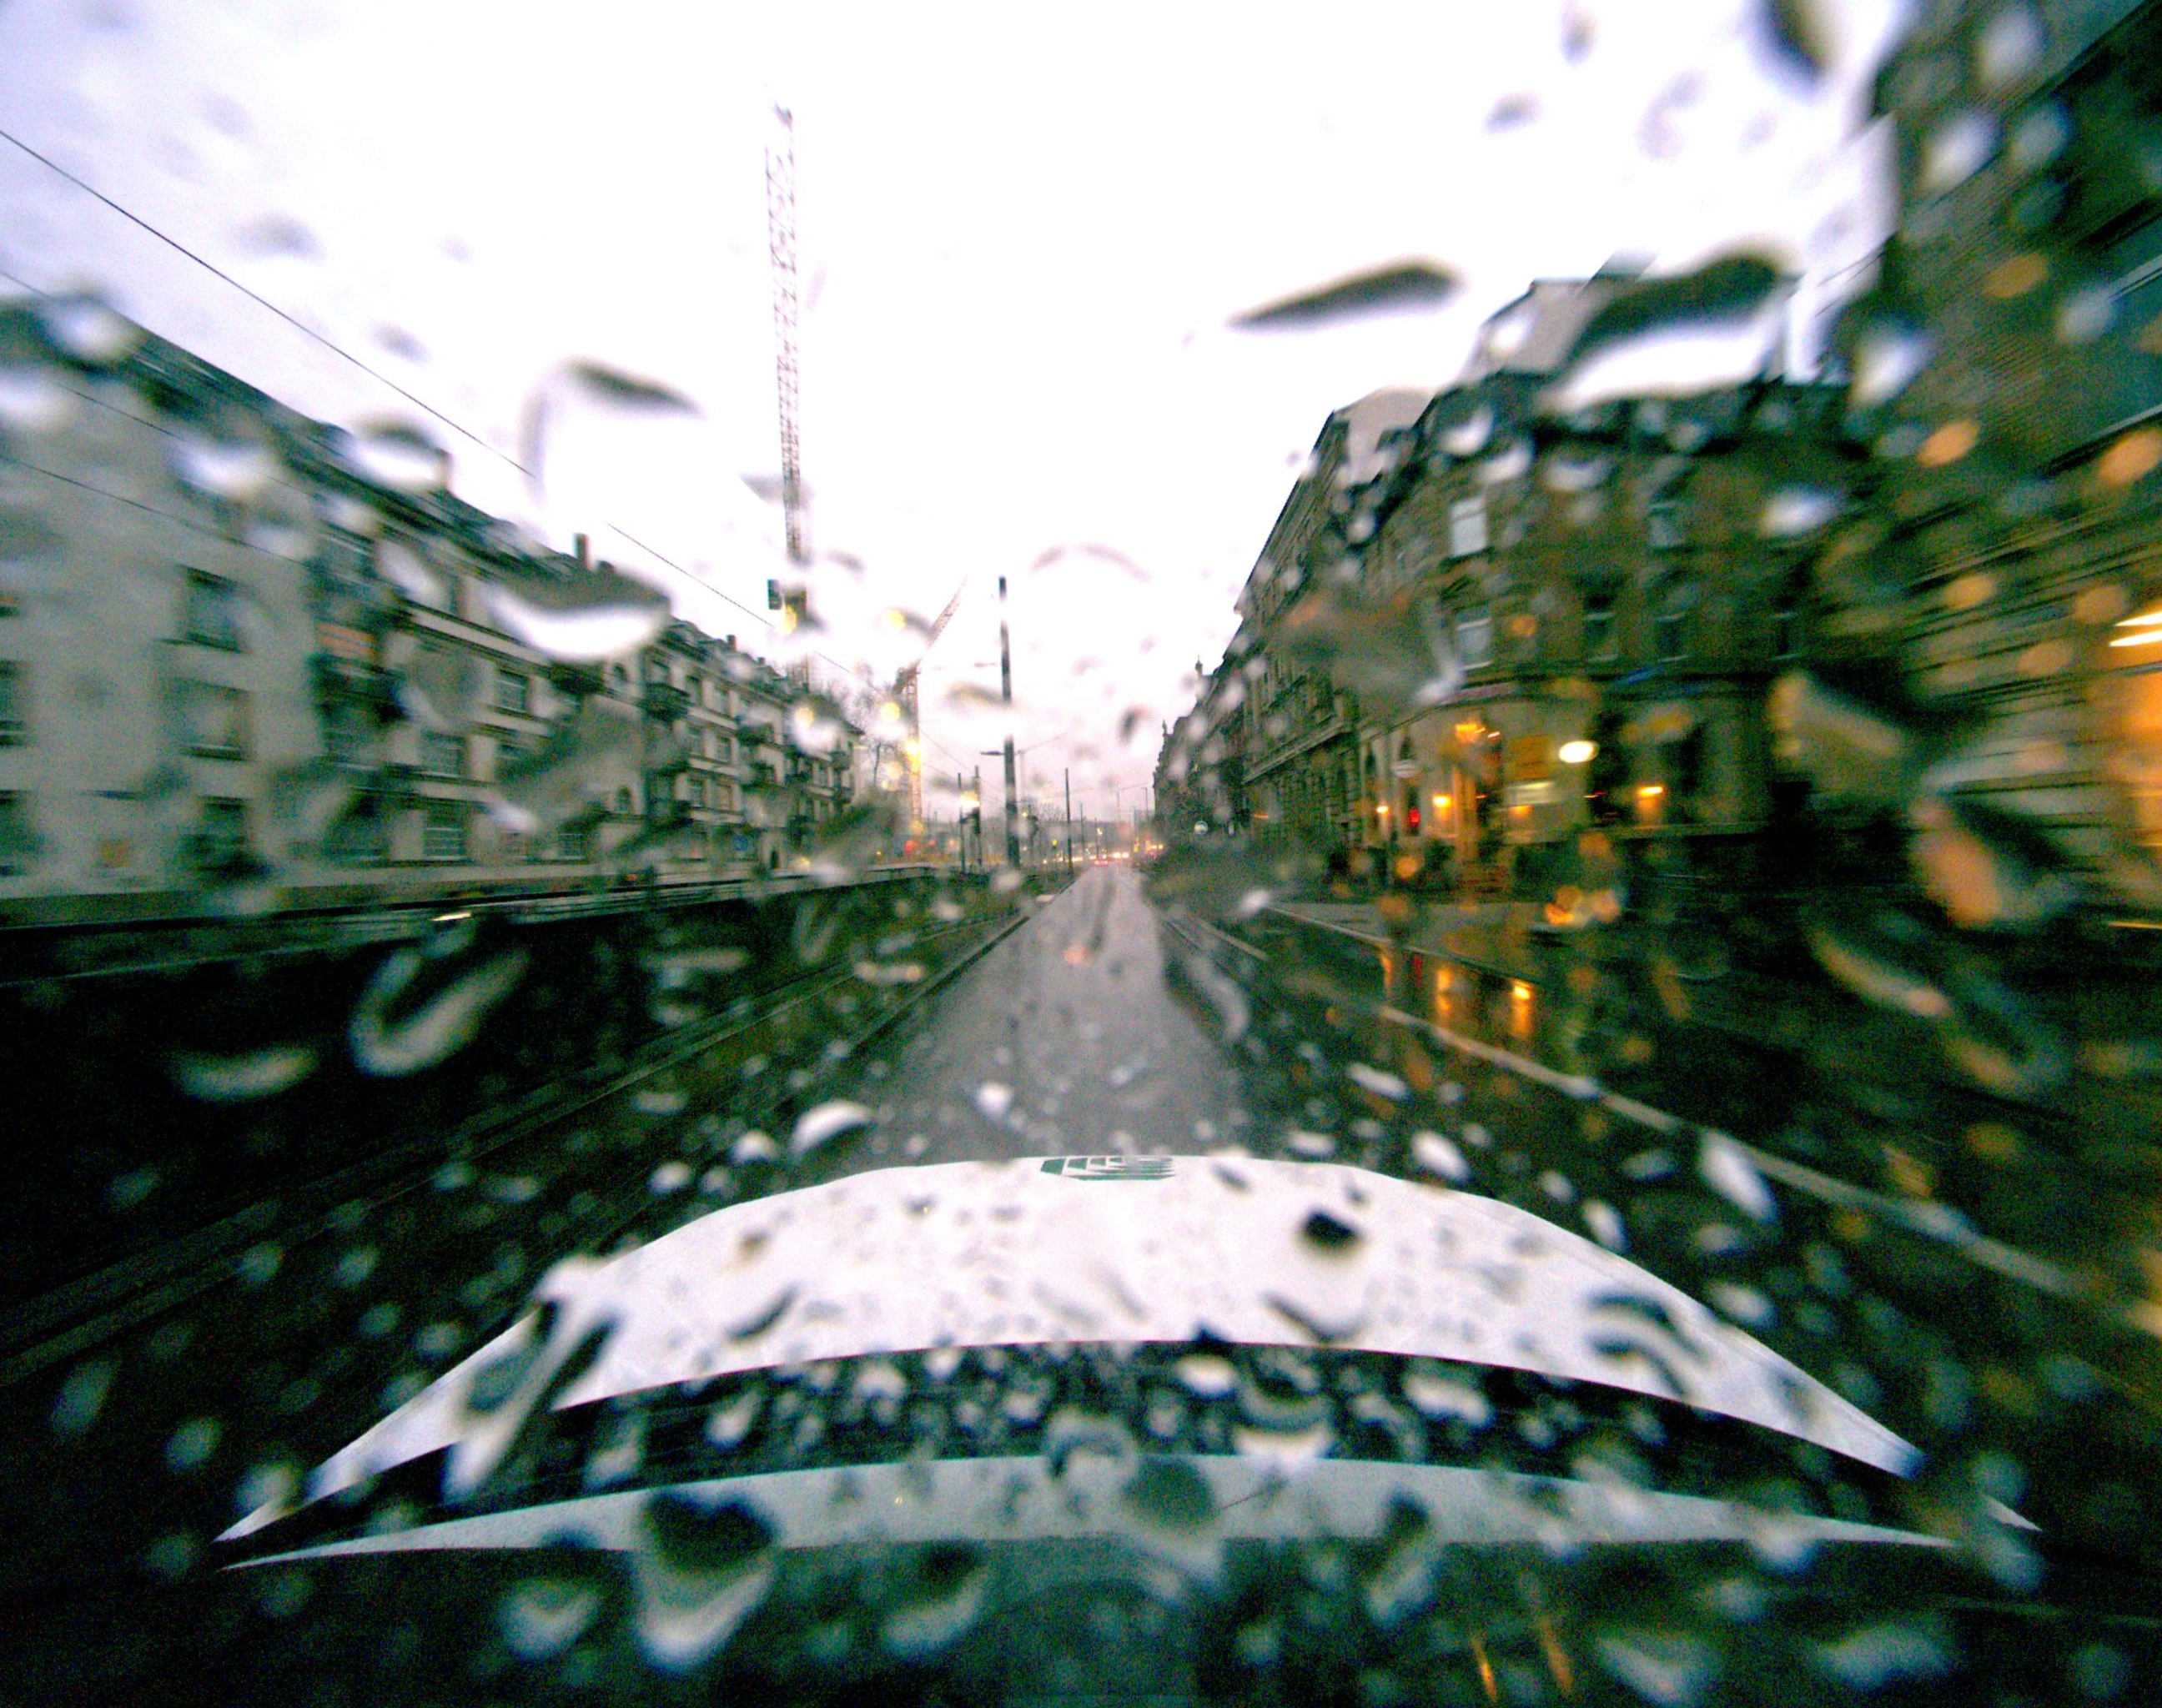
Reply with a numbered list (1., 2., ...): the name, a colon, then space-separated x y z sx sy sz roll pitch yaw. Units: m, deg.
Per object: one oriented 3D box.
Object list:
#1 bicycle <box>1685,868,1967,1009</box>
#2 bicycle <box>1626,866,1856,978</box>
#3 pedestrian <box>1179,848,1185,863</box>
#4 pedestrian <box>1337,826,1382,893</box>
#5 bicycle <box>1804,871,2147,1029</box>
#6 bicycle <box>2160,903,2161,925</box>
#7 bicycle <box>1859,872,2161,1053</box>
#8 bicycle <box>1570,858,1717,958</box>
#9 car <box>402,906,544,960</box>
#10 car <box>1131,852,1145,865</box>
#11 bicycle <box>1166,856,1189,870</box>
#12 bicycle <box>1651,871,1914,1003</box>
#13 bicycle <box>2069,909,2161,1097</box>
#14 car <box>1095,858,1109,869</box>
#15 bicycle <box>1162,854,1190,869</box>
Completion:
1. bicycle: 6.788 0.754 7.457 2.137 1.055 0.425 -5 1 0
2. bicycle: 7.173 0.723 8.896 2.081 1.052 0.478 -4 0 -1
3. pedestrian: 11.900 0.182 95.778 0.600 1.785 0.528 -3 0 1
4. pedestrian: 8.607 0.173 25.210 0.858 2.013 0.910 -2 0 -28
5. bicycle: 7.025 0.733 6.439 2.137 1.055 0.484 -4 0 0
6. bicycle: 6.904 0.725 4.217 2.001 1.095 0.425 -5 0 0
7. bicycle: 6.866 0.756 5.833 2.137 1.055 0.425 -5 1 0
8. bicycle: 7.039 0.640 10.159 2.098 1.052 0.474 -4 0 -25
9. car: -17.115 2.198 23.125 1.450 1.123 3.425 -3 0 -1
10. car: 7.698 0.615 110.701 1.791 1.604 3.774 -3 0 4
11. bicycle: 8.076 0.775 68.014 1.846 1.058 0.471 -3 0 -2
12. bicycle: 6.810 0.788 7.948 2.081 1.052 0.478 -5 0 -1
13. bicycle: 6.959 0.778 4.675 2.001 0.971 0.425 -5 0 0
14. car: 3.071 1.292 117.242 1.776 1.467 3.151 -2 0 3
15. bicycle: 7.480 0.598 64.163 2.143 1.057 0.525 -3 0 -5
